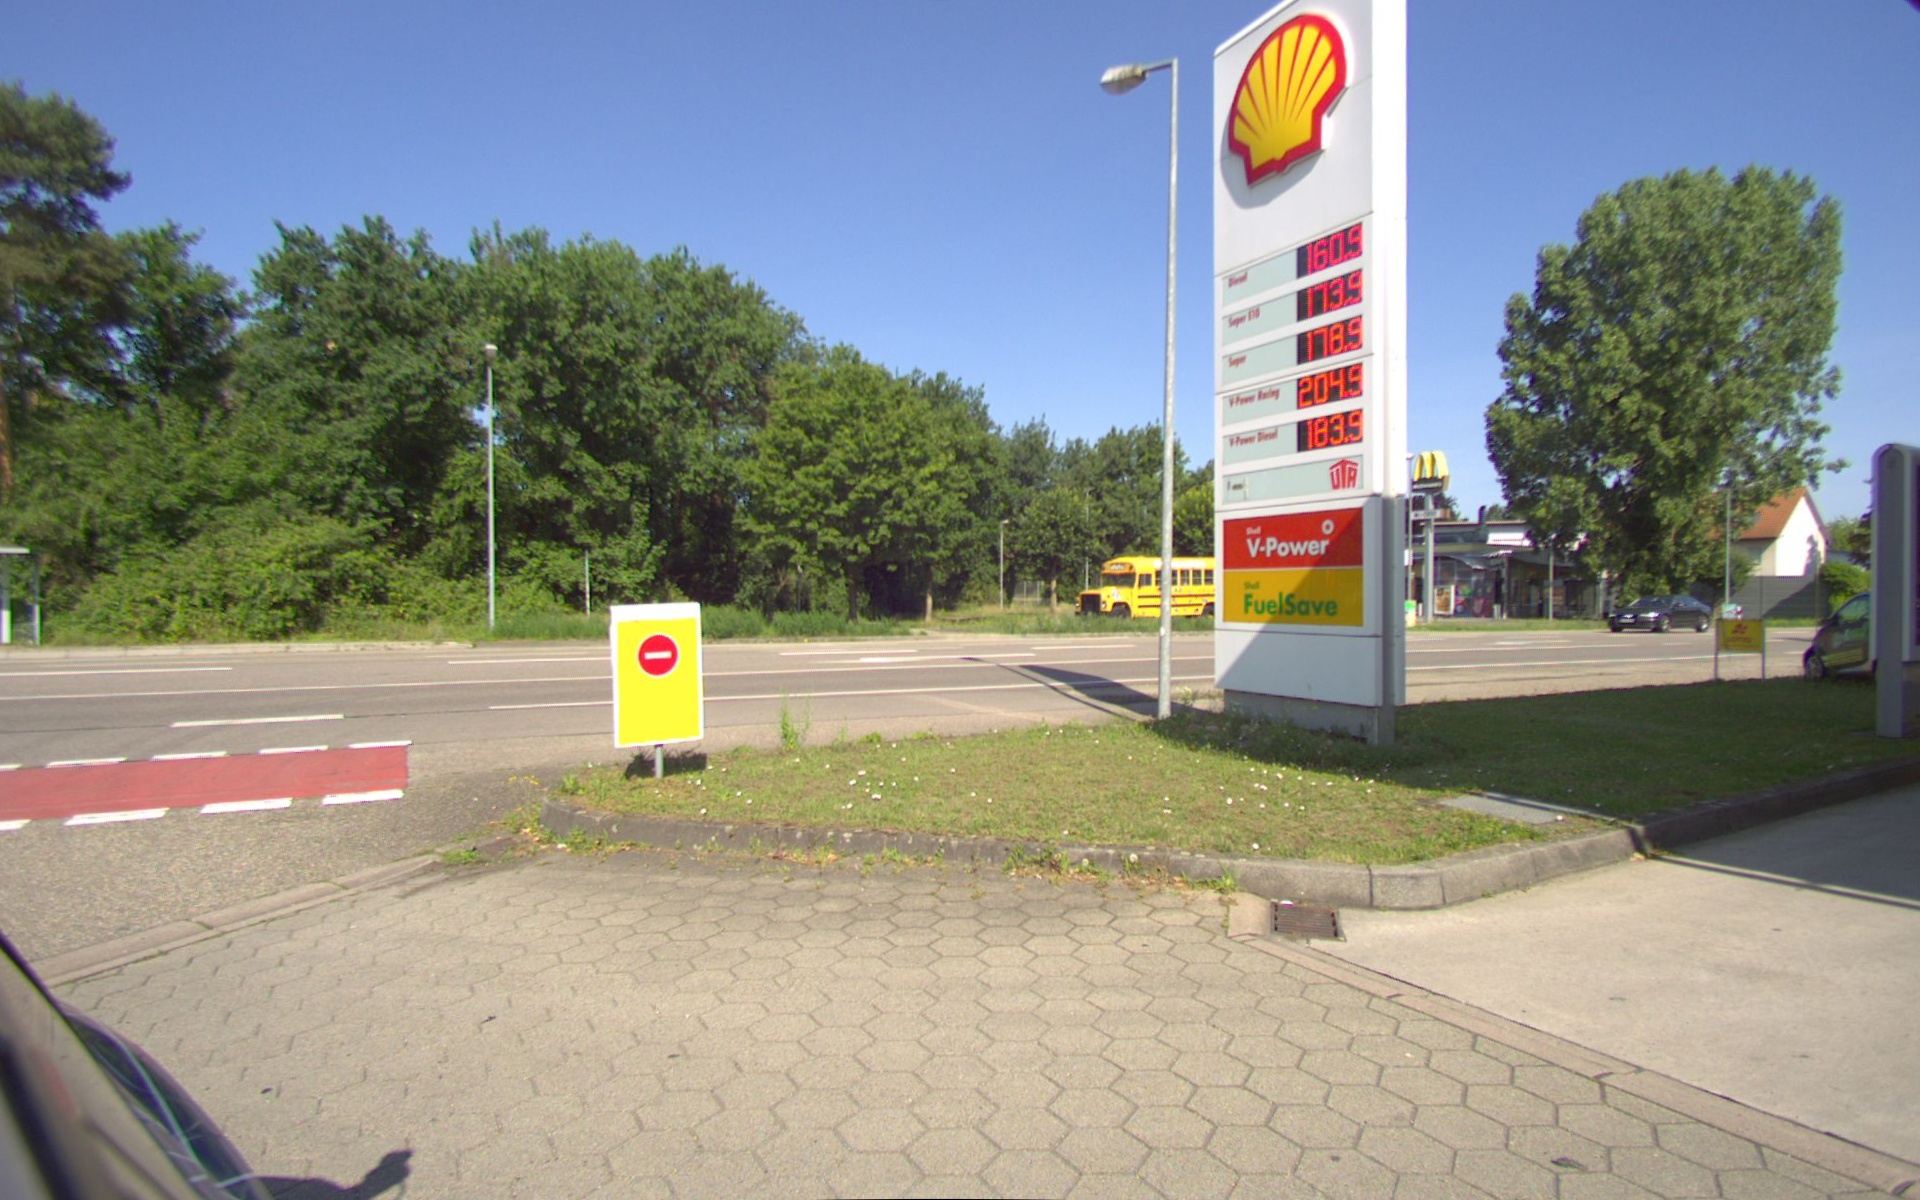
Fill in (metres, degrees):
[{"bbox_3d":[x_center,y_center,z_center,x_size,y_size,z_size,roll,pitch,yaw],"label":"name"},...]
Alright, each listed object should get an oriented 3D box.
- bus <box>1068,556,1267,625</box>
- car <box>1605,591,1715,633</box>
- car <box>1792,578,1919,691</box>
[{"bbox_3d":[8.965,-0.364,43.203,8.843,2.699,2.595,1,2,-31],"label":"bus"},{"bbox_3d":[26.510,0.443,38.321,3.931,1.469,1.833,1,2,-29],"label":"car"},{"bbox_3d":[13.970,0.493,14.916,1.563,1.541,2.718,2,1,15],"label":"car"}]
